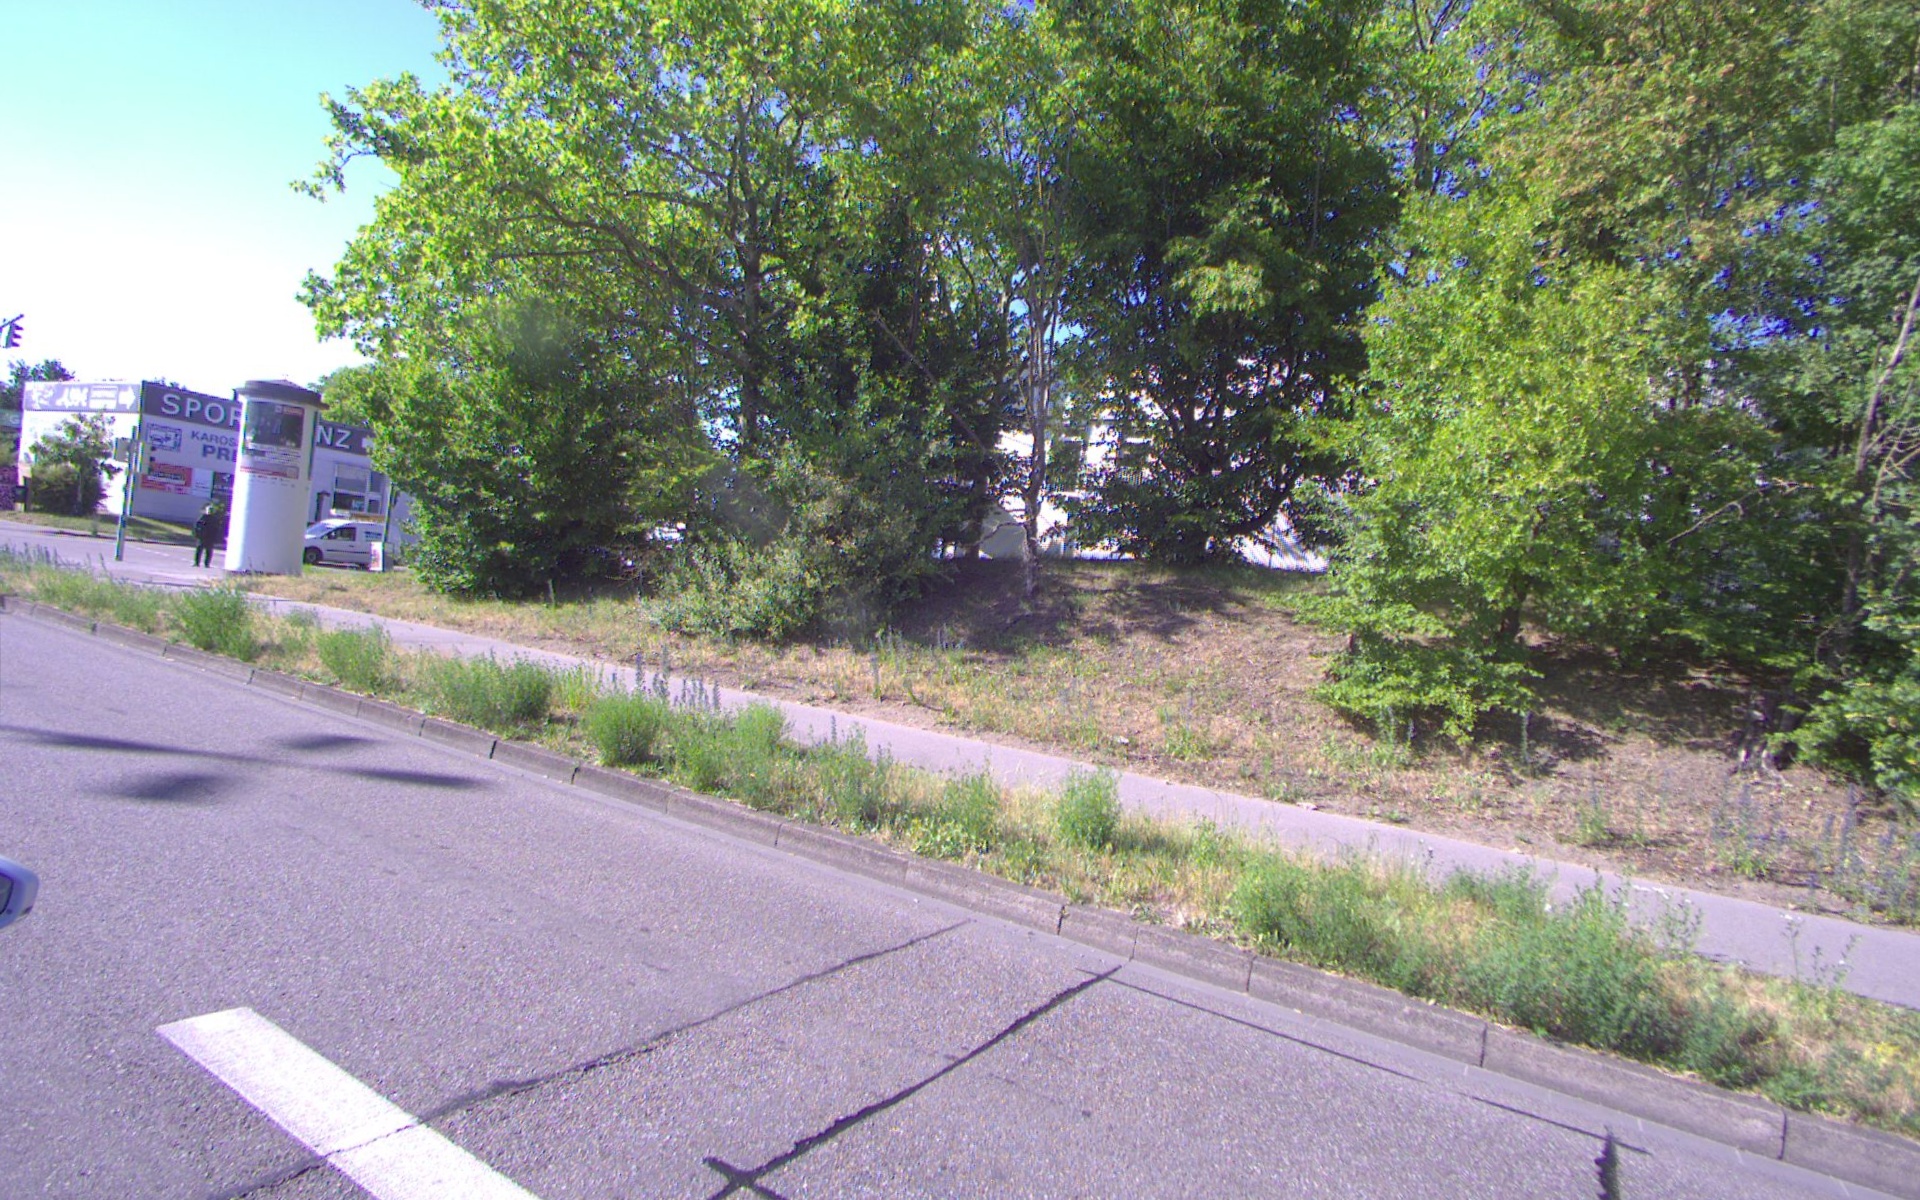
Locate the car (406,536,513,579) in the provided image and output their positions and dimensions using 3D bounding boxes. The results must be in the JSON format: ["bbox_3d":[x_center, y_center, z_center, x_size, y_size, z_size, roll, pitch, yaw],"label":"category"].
[{"bbox_3d":[-22.983,-1.940,46.349,1.752,1.509,4.046,7,1,30],"label":"car"}]

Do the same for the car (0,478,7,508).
[{"bbox_3d":[-49.214,-5.487,48.451,1.828,1.472,4.490,7,1,33],"label":"car"}]

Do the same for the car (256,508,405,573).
[{"bbox_3d":[-23.819,-2.200,38.251,1.735,1.824,4.387,9,1,30],"label":"car"}]

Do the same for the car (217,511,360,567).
[{"bbox_3d":[-26.595,-2.375,39.999,1.735,1.568,4.292,9,1,30],"label":"car"}]

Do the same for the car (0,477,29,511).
[{"bbox_3d":[-46.862,-5.221,47.081,1.828,1.472,4.490,7,1,33],"label":"car"}]

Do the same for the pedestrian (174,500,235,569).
[{"bbox_3d":[-21.068,-1.824,28.052,0.923,1.755,0.927,6,-1,31],"label":"pedestrian"}]
